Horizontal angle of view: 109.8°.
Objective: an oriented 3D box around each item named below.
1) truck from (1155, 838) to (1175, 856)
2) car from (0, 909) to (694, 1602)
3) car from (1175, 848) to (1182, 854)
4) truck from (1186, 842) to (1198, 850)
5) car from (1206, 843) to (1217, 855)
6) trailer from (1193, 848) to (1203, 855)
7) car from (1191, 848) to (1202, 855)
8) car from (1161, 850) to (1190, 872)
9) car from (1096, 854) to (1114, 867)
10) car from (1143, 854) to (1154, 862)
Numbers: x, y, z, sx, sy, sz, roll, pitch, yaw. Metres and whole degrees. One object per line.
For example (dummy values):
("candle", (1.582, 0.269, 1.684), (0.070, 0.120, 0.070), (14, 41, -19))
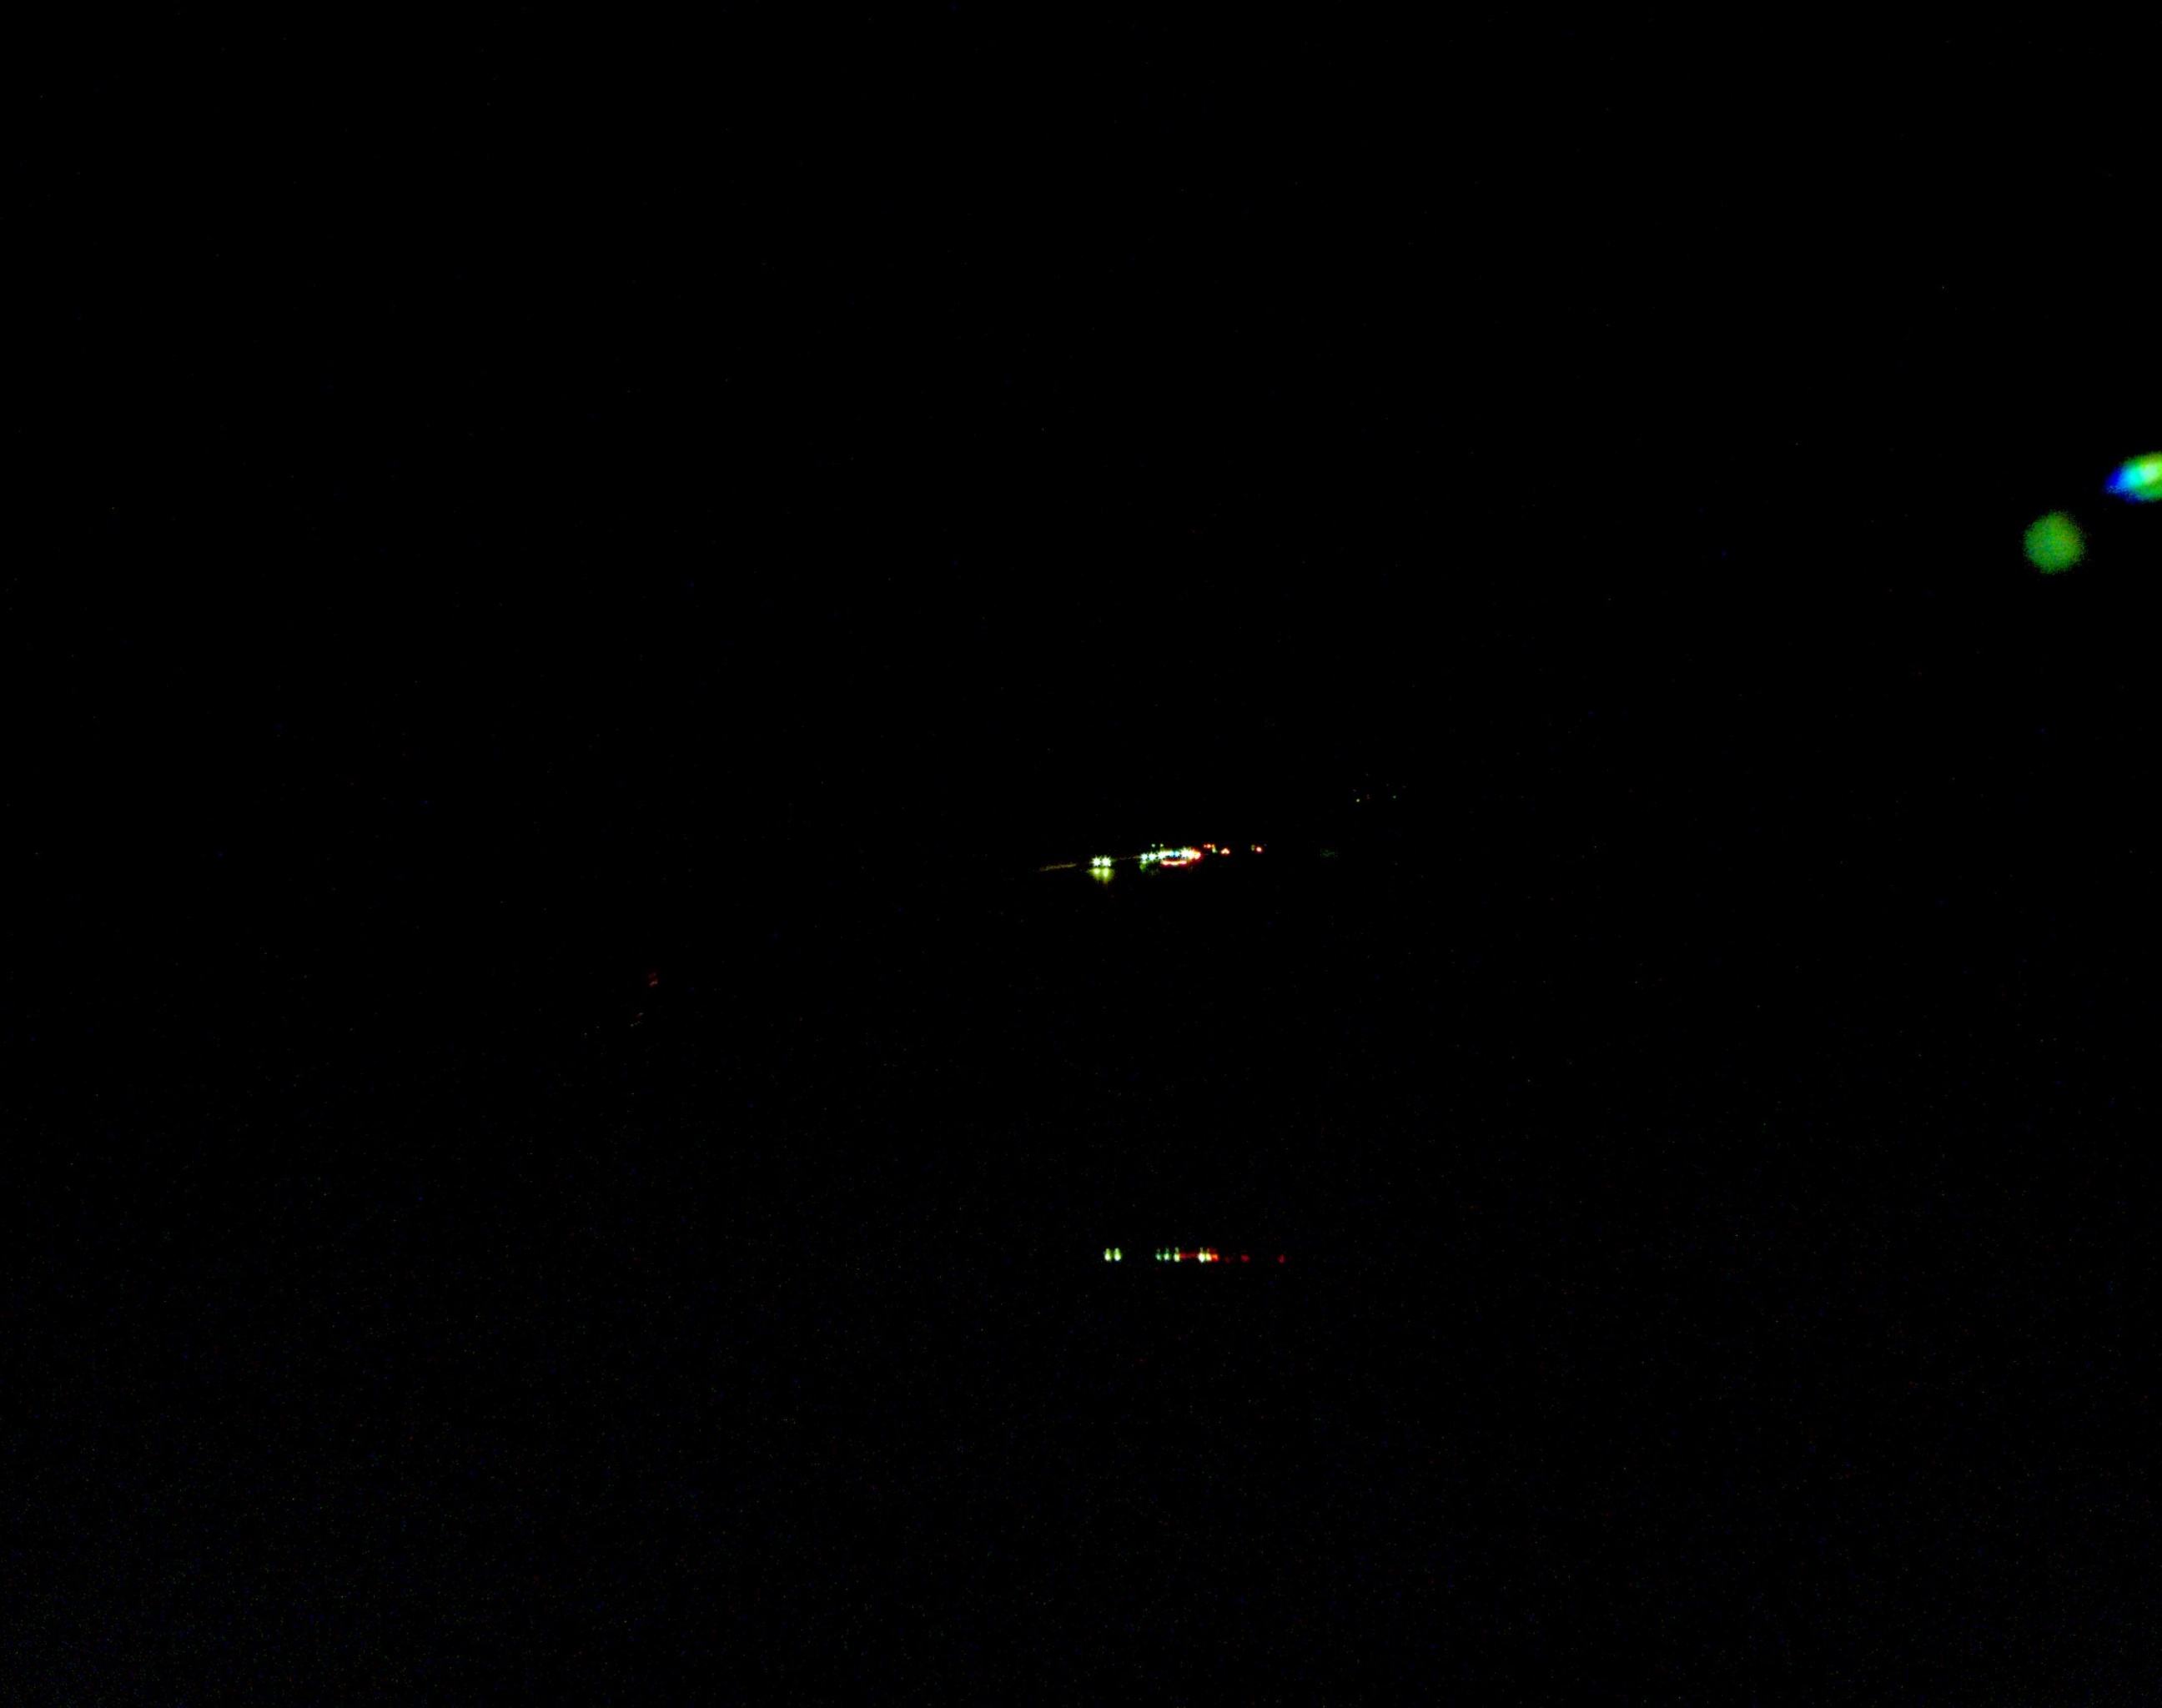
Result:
("truck", (20.752, -1.825, 186.538), (2.969, 4.251, 17.157), (0, 1, 12))
("car", (-3.400, 1.039, 2.203), (1.812, 1.418, 4.876), (0, 0, 4))
("car", (26.861, -0.922, 209.475), (1.690, 1.619, 4.726), (0, 0, 10))
("truck", (30.826, -2.212, 211.227), (2.424, 2.410, 7.099), (0, 1, 15))
("car", (35.016, -1.441, 203.639), (2.490, 3.088, 7.391), (0, 1, 12))
("trailer", (24.795, -0.563, 161.560), (1.887, 1.418, 3.352), (0, 0, 5))
("car", (25.160, -0.548, 165.688), (1.916, 1.418, 4.954), (0, 0, 5))
("car", (6.980, 0.496, 56.473), (1.823, 1.507, 4.523), (-1, 1, 3))
("car", (2.929, 0.815, 92.804), (1.811, 1.508, 3.938), (0, 0, 8))
("car", (13.019, 0.797, 146.118), (1.811, 1.508, 3.939), (0, 0, 11))
